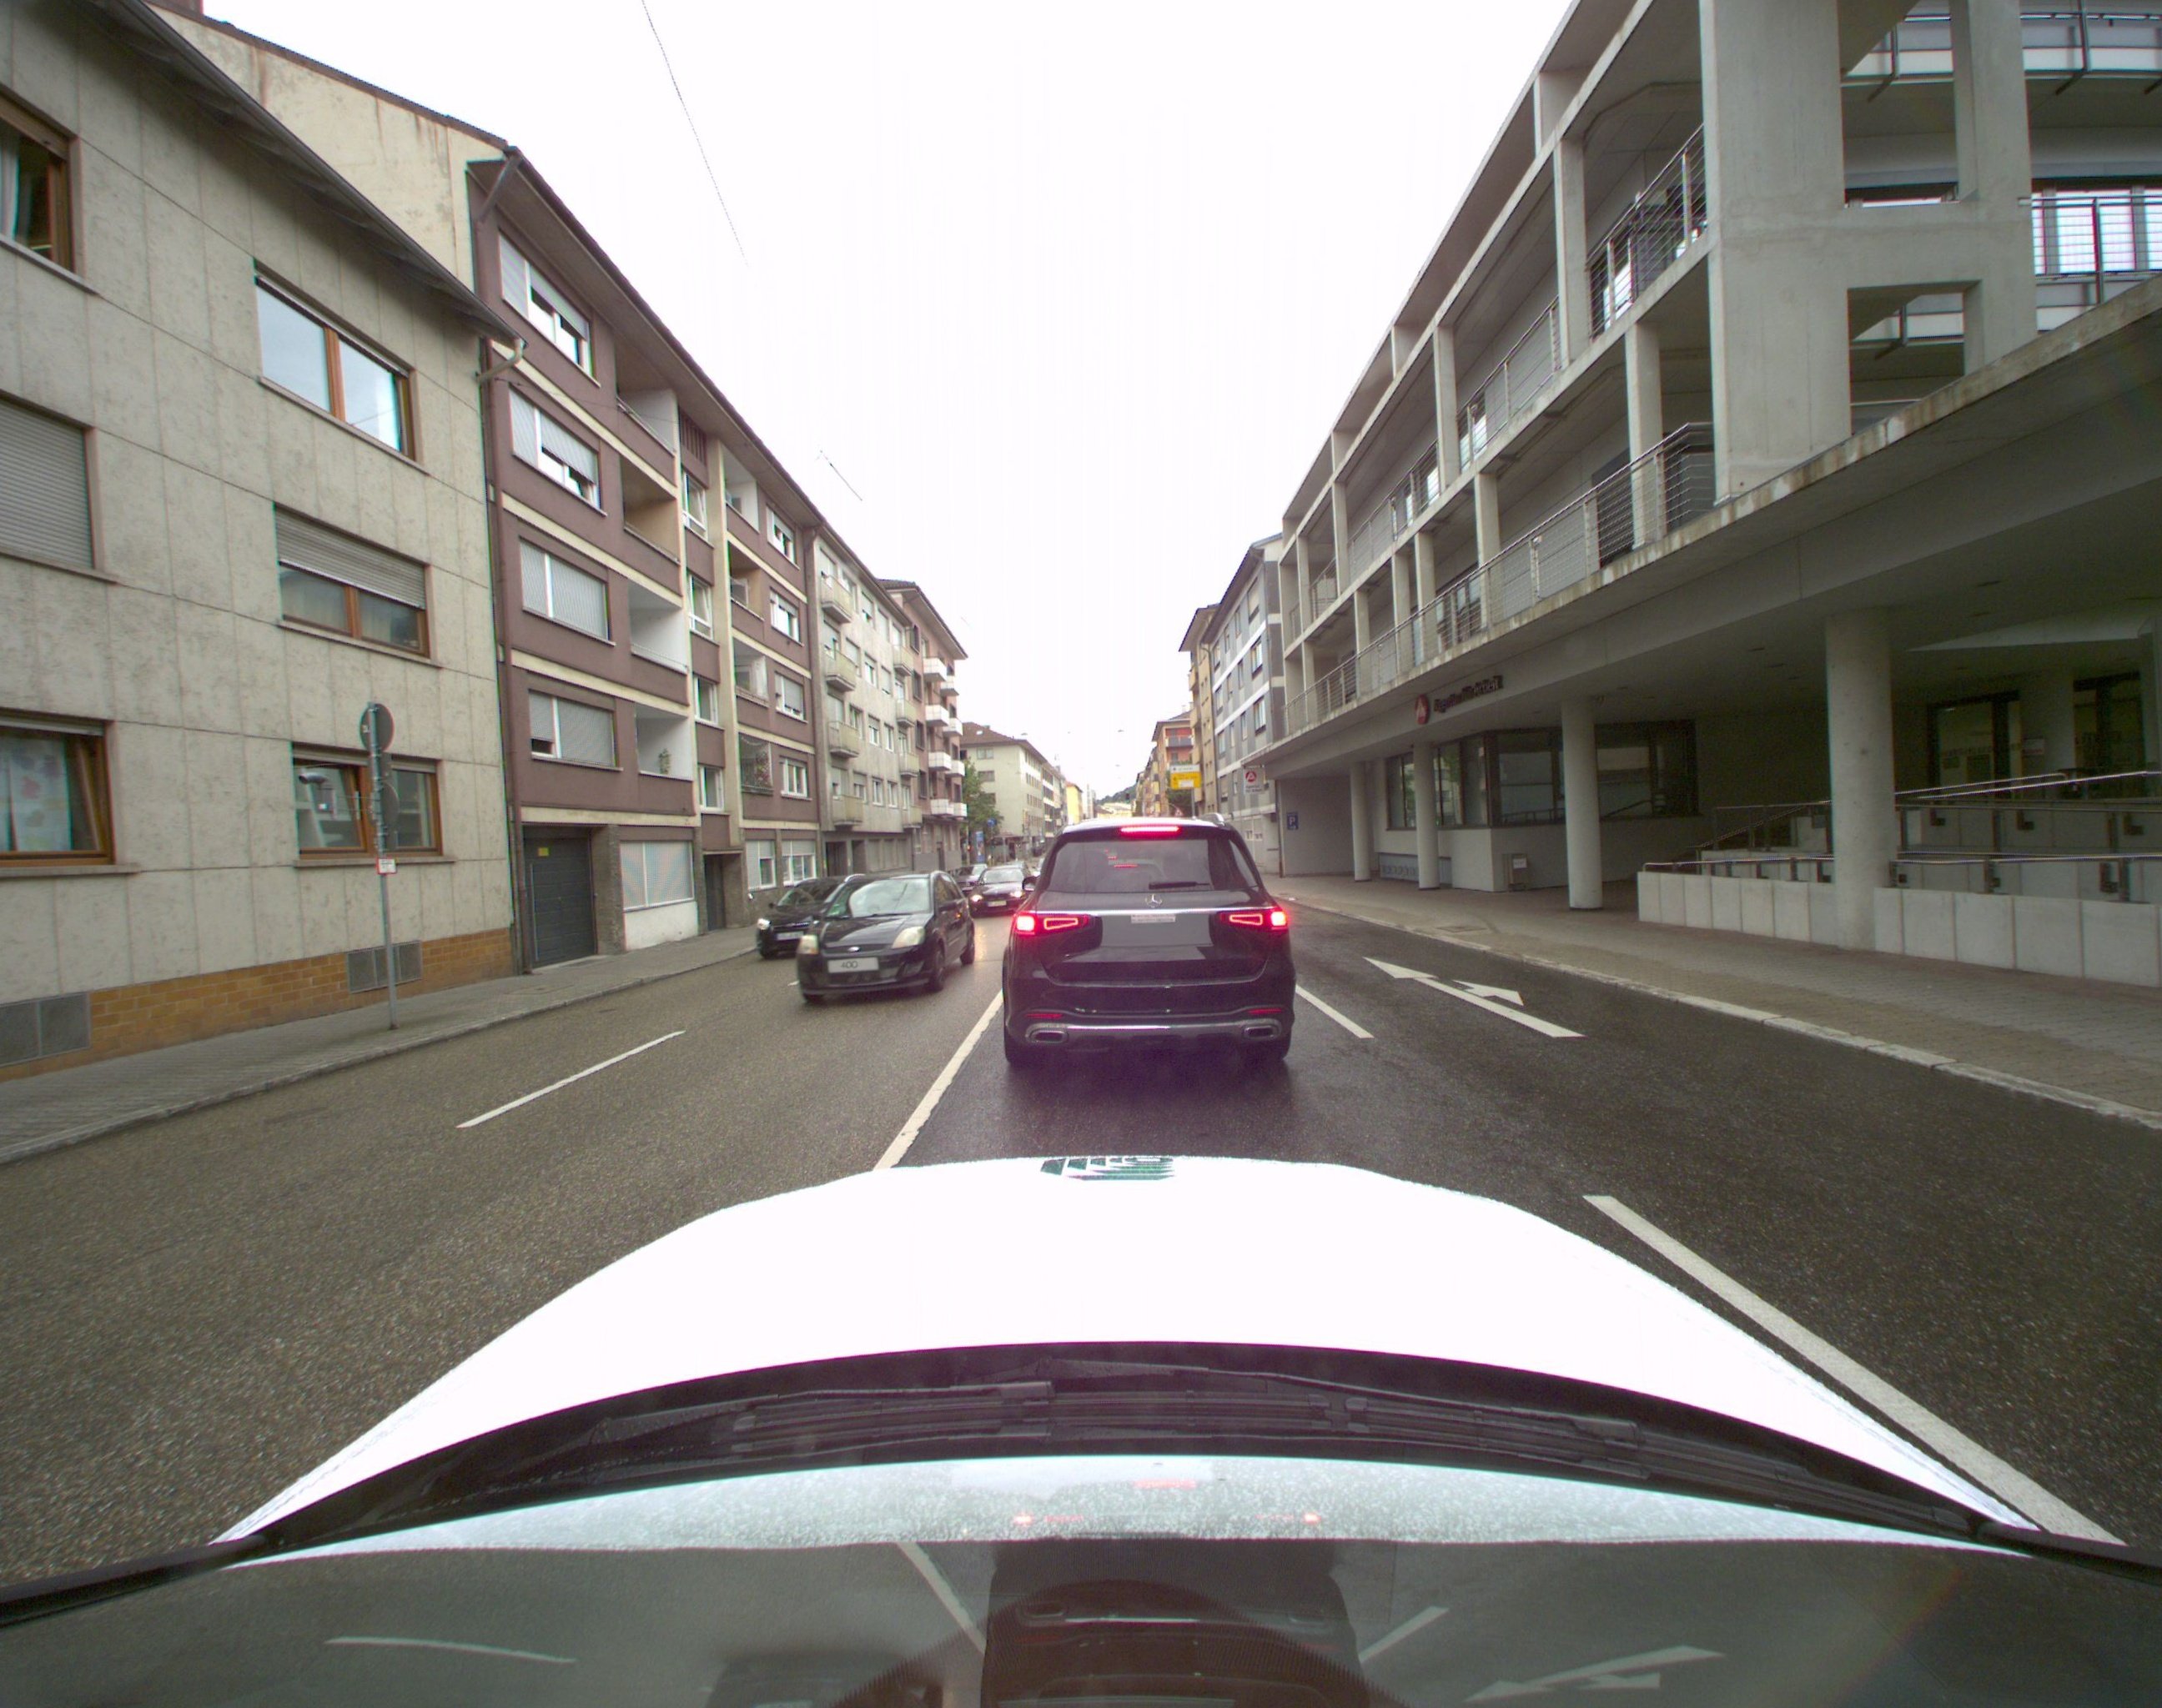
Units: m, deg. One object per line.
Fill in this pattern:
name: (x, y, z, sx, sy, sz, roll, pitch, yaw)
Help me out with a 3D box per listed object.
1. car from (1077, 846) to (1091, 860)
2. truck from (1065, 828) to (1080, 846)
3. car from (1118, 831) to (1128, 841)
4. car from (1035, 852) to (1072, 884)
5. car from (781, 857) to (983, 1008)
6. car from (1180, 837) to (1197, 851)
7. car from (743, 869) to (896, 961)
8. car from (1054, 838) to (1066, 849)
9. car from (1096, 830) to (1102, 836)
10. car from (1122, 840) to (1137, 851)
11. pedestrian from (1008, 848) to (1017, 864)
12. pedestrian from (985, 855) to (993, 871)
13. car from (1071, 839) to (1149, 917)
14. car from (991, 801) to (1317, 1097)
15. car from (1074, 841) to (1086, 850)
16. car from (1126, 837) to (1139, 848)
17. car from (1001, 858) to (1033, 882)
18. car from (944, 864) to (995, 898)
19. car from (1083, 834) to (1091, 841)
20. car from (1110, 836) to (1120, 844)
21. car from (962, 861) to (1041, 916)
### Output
car: (0.382, -0.133, 101.482, 1.613, 1.539, 4.216, -4, -1, 0)
truck: (-1.603, -3.166, 157.423, 2.472, 3.046, 9.917, -4, -1, 0)
car: (7.902, -3.357, 152.577, 1.613, 1.539, 4.216, -4, -1, 0)
car: (-1.452, 0.765, 44.787, 1.689, 1.580, 4.218, -5, -1, 1)
car: (-2.439, 0.883, 11.065, 1.613, 1.539, 4.216, -4, -1, 0)
car: (12.477, -1.162, 94.590, 1.664, 1.588, 3.334, -3, 0, 4)
car: (-5.366, 1.185, 17.380, 1.717, 1.473, 4.374, -5, 0, 0)
car: (-3.389, -1.702, 131.999, 1.613, 1.539, 4.216, -4, -1, 0)
car: (5.542, -6.363, 250.510, 1.613, 1.539, 4.216, -4, -1, 0)
car: (6.774, -1.172, 114.014, 1.613, 1.387, 4.216, -4, -1, 0)
pedestrian: (-8.650, 0.215, 102.335, 0.920, 1.902, 0.706, -3, 0, 0)
pedestrian: (-10.381, 0.971, 91.995, 0.632, 1.764, 0.775, -3, 0, 9)
car: (0.670, 0.585, 21.010, 1.746, 1.731, 4.216, -3, -1, 0)
car: (0.513, 0.600, 7.188, 1.977, 1.805, 4.391, 0, -1, 2)
car: (-0.119, -1.398, 136.074, 1.879, 1.264, 4.216, -5, -1, 0)
car: (8.040, -1.771, 127.822, 1.613, 1.539, 4.216, -4, -1, 0)
car: (-4.218, 1.049, 54.479, 1.593, 1.370, 4.362, -6, 0, 1)
car: (-5.238, 1.226, 38.665, 1.689, 1.370, 4.366, -5, -1, 0)
car: (1.449, -3.943, 194.022, 1.613, 1.539, 4.216, -4, -1, 0)
car: (7.159, -2.922, 171.773, 1.613, 1.539, 4.216, -4, -1, 0)
car: (-2.272, 0.972, 24.289, 1.688, 1.370, 4.220, -5, -1, 2)
